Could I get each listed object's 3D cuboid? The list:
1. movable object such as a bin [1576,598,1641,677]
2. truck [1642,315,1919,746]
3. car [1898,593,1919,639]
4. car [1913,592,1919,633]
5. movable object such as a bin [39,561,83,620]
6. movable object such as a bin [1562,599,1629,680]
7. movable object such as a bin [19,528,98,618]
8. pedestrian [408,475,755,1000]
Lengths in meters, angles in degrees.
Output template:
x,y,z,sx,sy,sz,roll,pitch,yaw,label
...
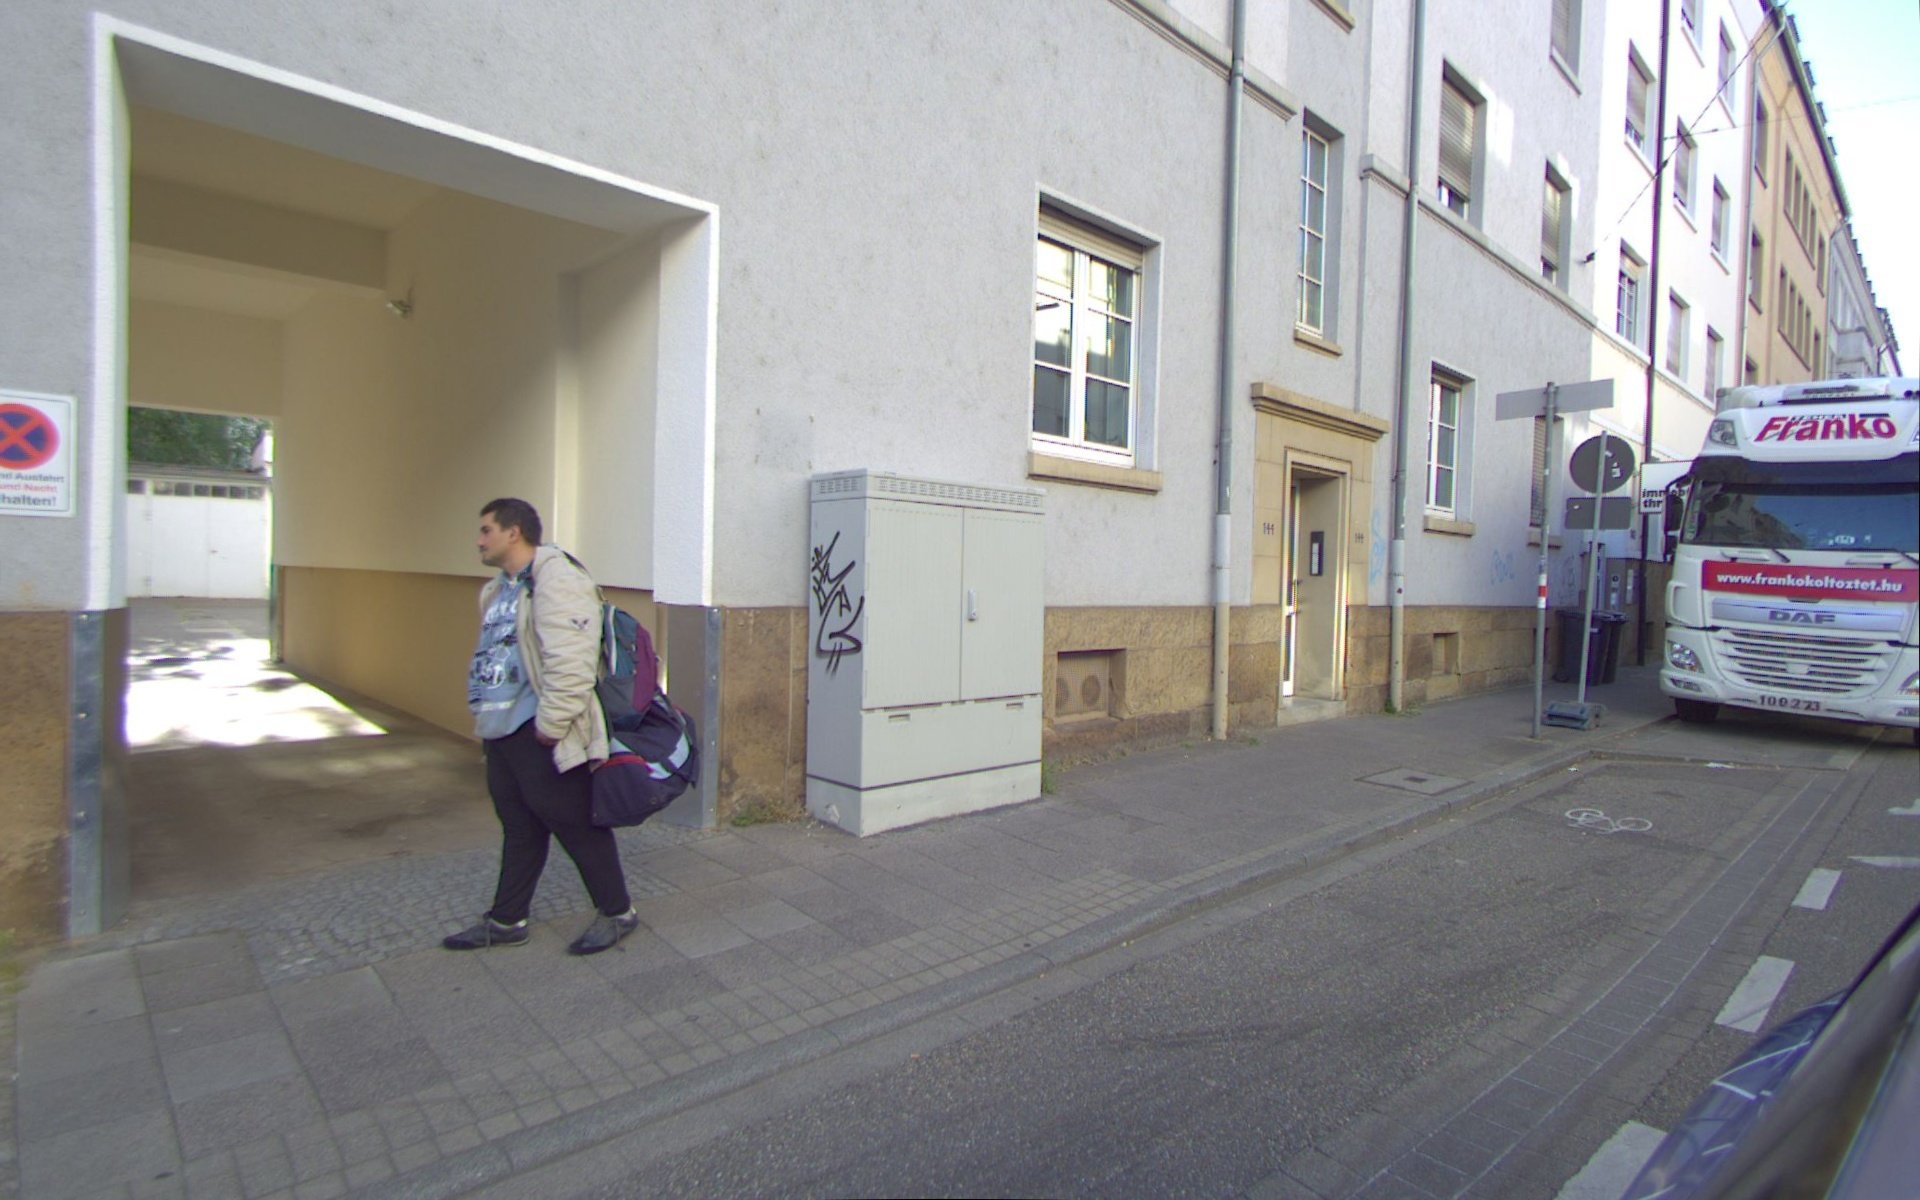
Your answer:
x,y,z,sx,sy,sz,roll,pitch,yaw,label
9.637,0.544,15.039,0.560,1.107,0.665,0,2,-43,movable object such as a bin
12.562,-0.677,13.881,11.621,3.975,2.778,0,2,-44,truck
33.489,0.534,34.736,4.080,1.551,1.681,0,0,-44,car
37.659,0.467,38.634,4.080,1.551,1.681,0,0,-44,car
-14.390,-0.152,16.196,0.518,0.922,0.580,0,2,-43,movable object such as a bin
9.158,0.552,14.588,0.560,1.107,0.665,0,2,-43,movable object such as a bin
-15.167,-0.459,17.014,0.946,1.426,1.597,0,2,-43,movable object such as a bin
-1.377,0.392,3.657,0.854,1.590,0.875,1,3,-43,pedestrian
